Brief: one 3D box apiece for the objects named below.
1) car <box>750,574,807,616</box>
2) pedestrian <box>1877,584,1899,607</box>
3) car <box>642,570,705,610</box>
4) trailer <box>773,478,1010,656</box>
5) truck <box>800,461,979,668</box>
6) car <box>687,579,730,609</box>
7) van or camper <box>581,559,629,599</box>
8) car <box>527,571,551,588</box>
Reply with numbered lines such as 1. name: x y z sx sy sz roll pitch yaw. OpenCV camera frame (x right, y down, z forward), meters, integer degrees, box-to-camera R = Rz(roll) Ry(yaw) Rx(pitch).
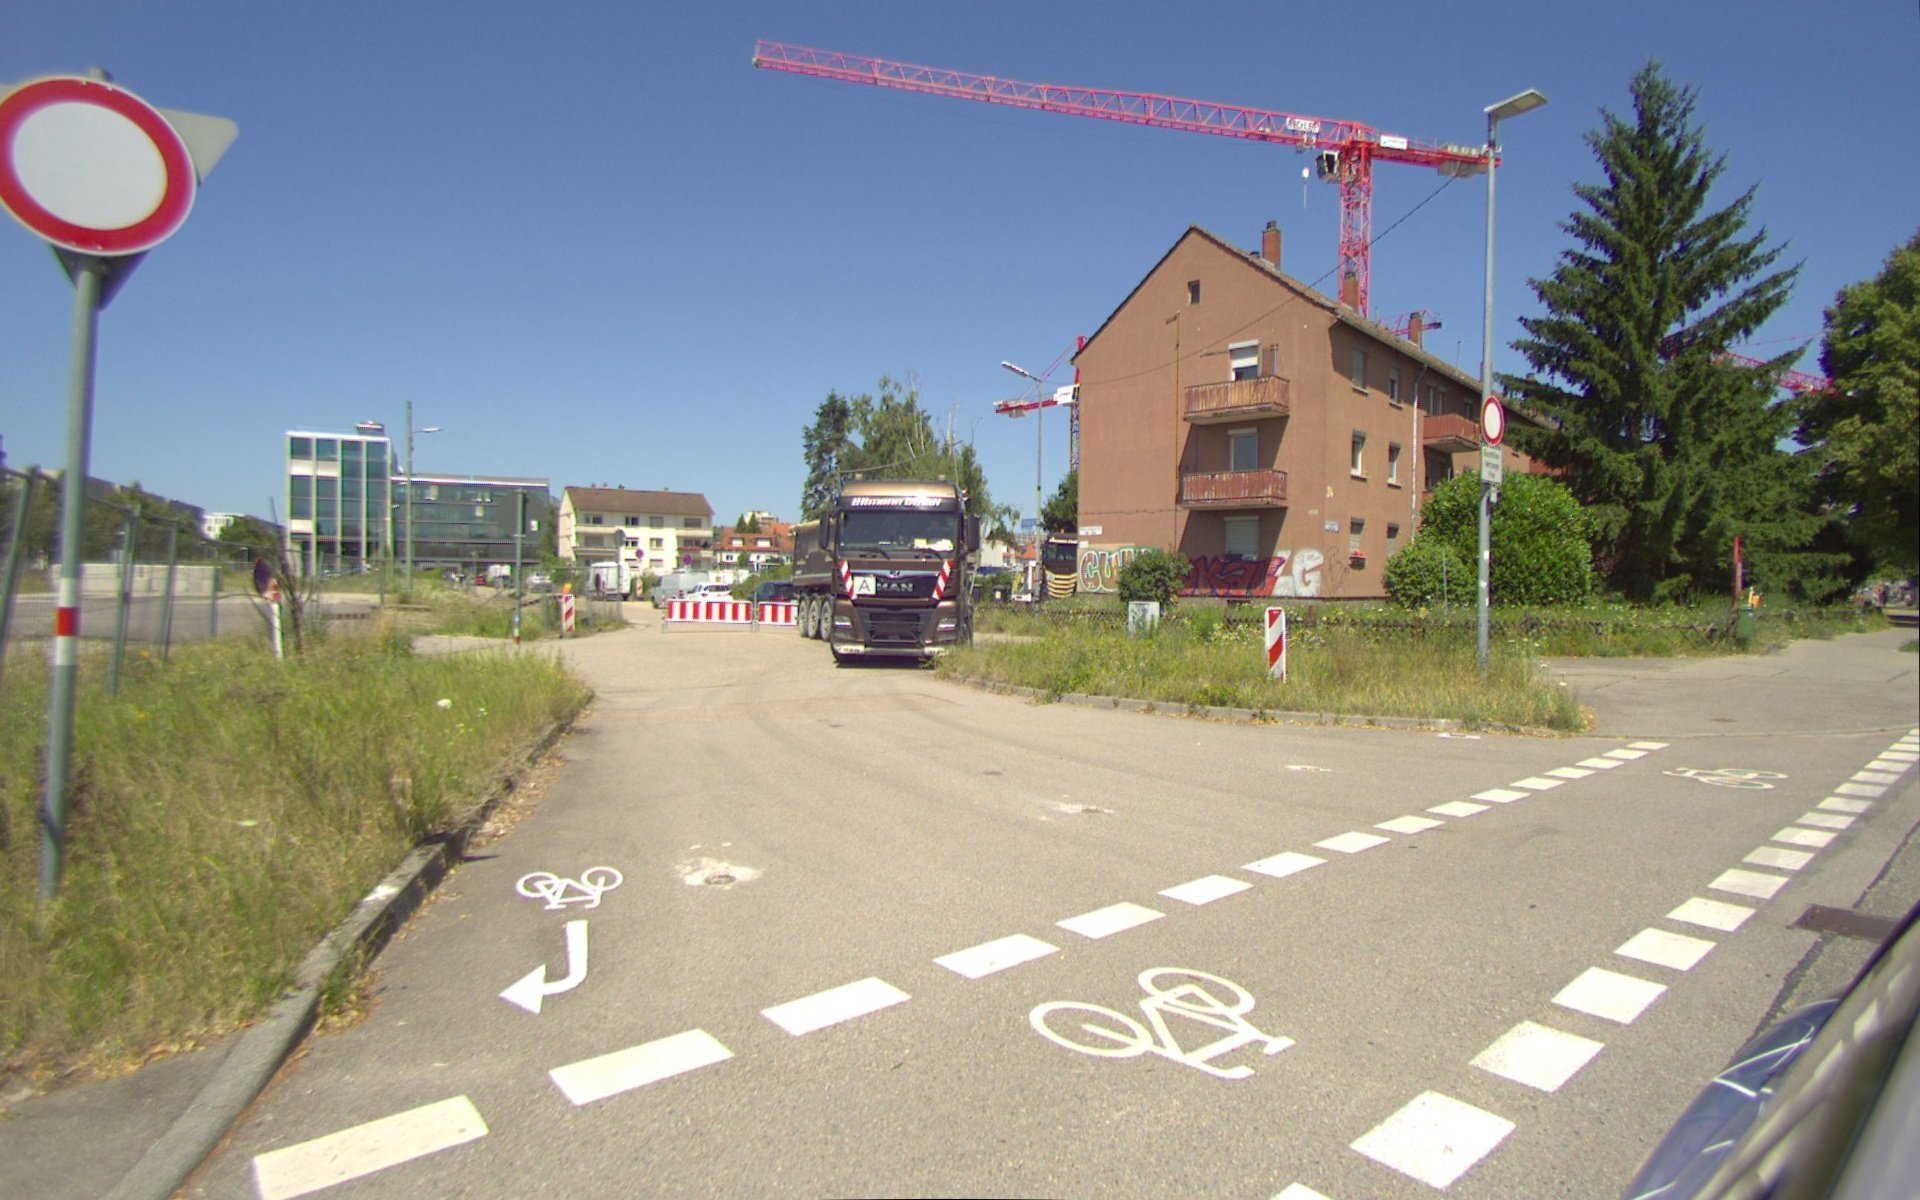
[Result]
1. car: -7.496 -0.225 41.561 1.342 1.633 3.424 0 1 -28
2. pedestrian: 63.335 -0.313 69.043 0.670 1.536 1.023 0 1 -41
3. car: -15.402 -0.571 54.205 1.751 2.039 4.682 0 1 -36
4. trailer: -2.118 -0.757 25.149 3.098 3.577 9.011 0 1 -23
5. truck: -1.201 -0.672 20.161 3.105 3.577 4.964 1 1 1
6. car: -12.409 -0.299 49.782 1.390 1.423 2.794 0 1 -29
7. van or camper: -24.735 -1.475 70.279 1.891 2.634 7.010 0 1 -30
8. car: -40.612 -1.942 97.653 1.647 1.606 3.625 -1 1 -30
